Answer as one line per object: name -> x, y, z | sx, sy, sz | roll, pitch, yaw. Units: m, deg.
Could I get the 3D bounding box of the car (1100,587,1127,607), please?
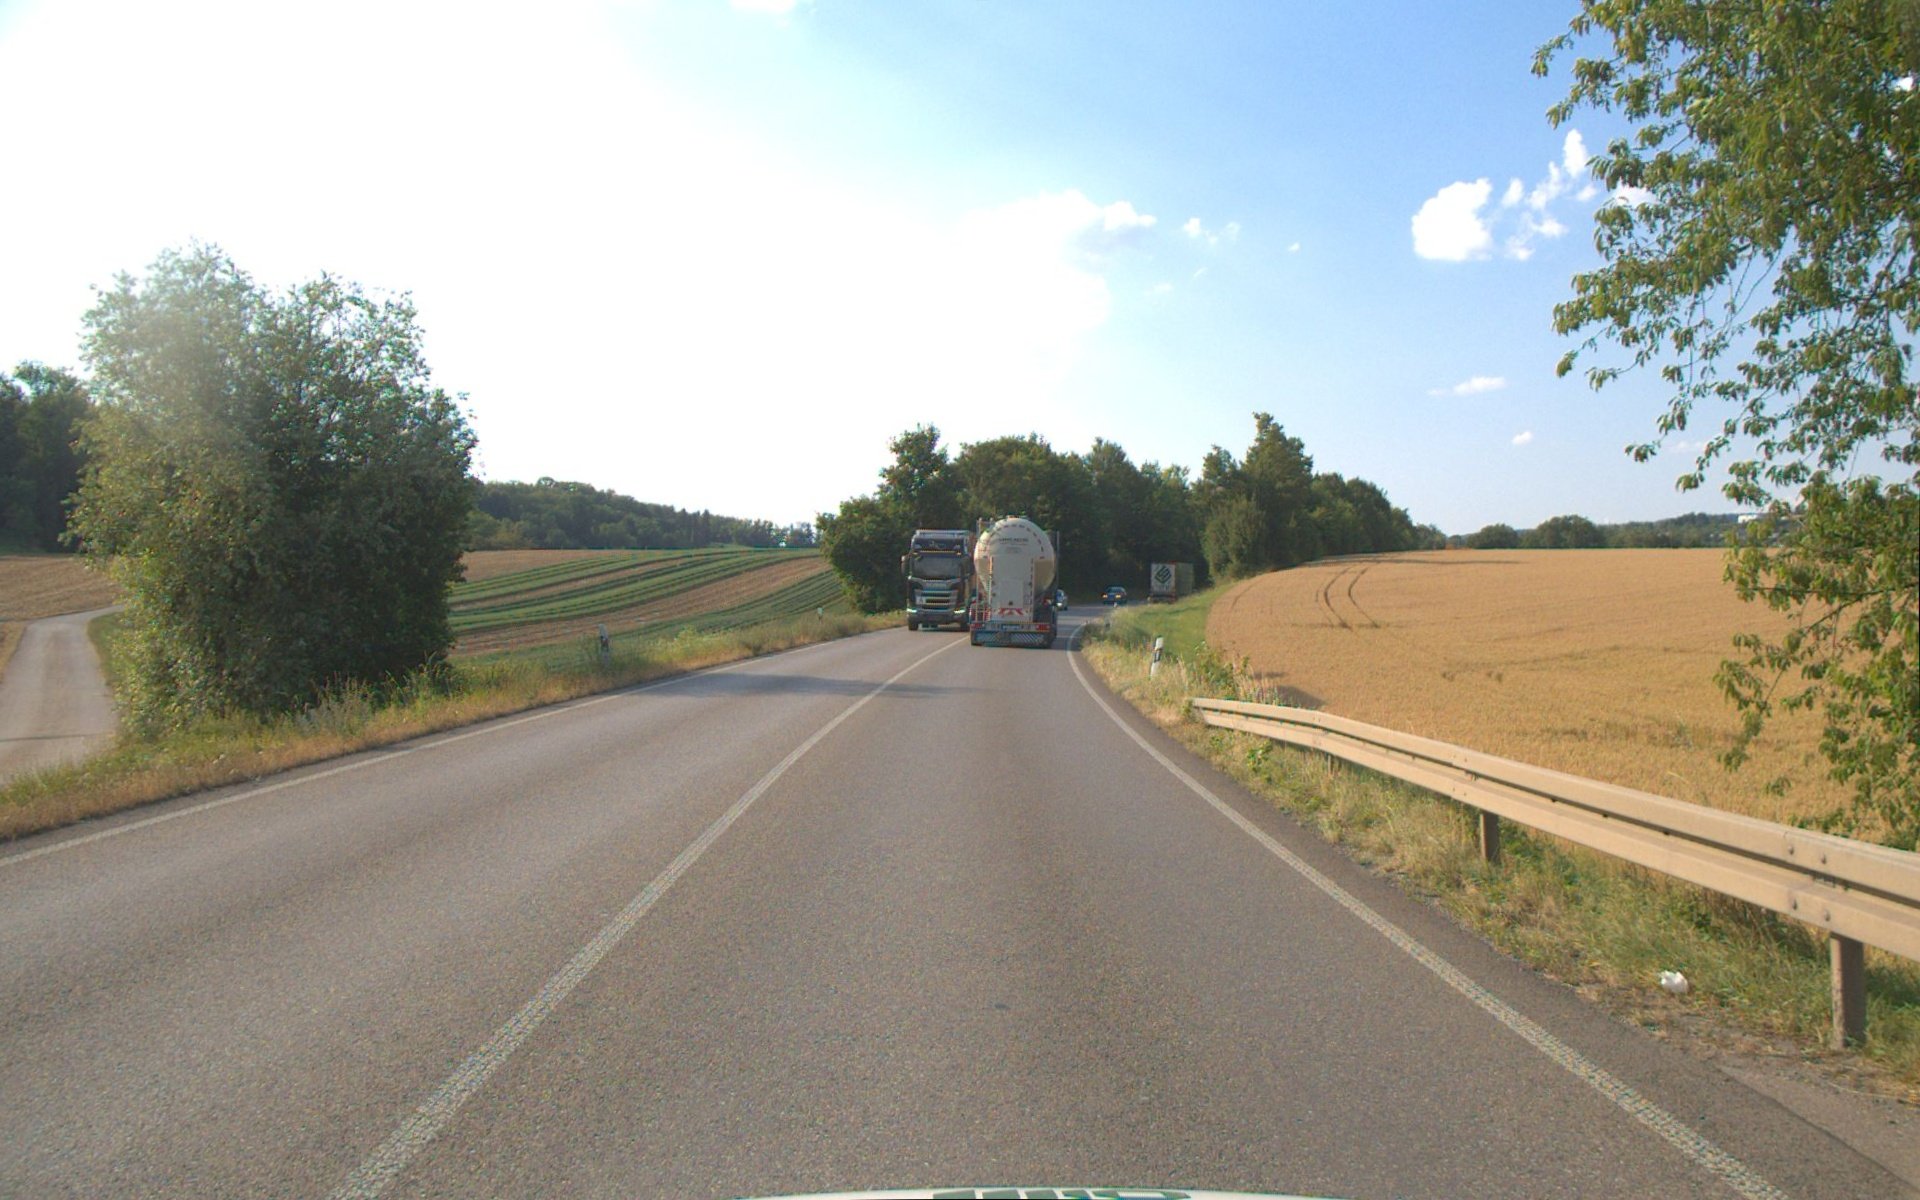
car -> 14.925, -0.295, 160.584 | 1.861, 1.802, 4.496 | 0, 3, 16

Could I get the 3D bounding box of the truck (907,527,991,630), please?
truck -> -0.345, -0.918, 69.386 | 2.338, 3.989, 10.167 | 0, 1, 6

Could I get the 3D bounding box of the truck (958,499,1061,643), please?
truck -> 1.861, -0.867, 55.637 | 2.832, 4.215, 13.178 | 1, 0, 4

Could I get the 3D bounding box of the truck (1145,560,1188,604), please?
truck -> 21.315, -1.891, 169.888 | 3.115, 4.301, 13.184 | 0, 1, 13

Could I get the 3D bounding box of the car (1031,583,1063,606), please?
car -> 6.452, -0.431, 122.780 | 1.933, 1.679, 4.366 | 0, 1, 9
